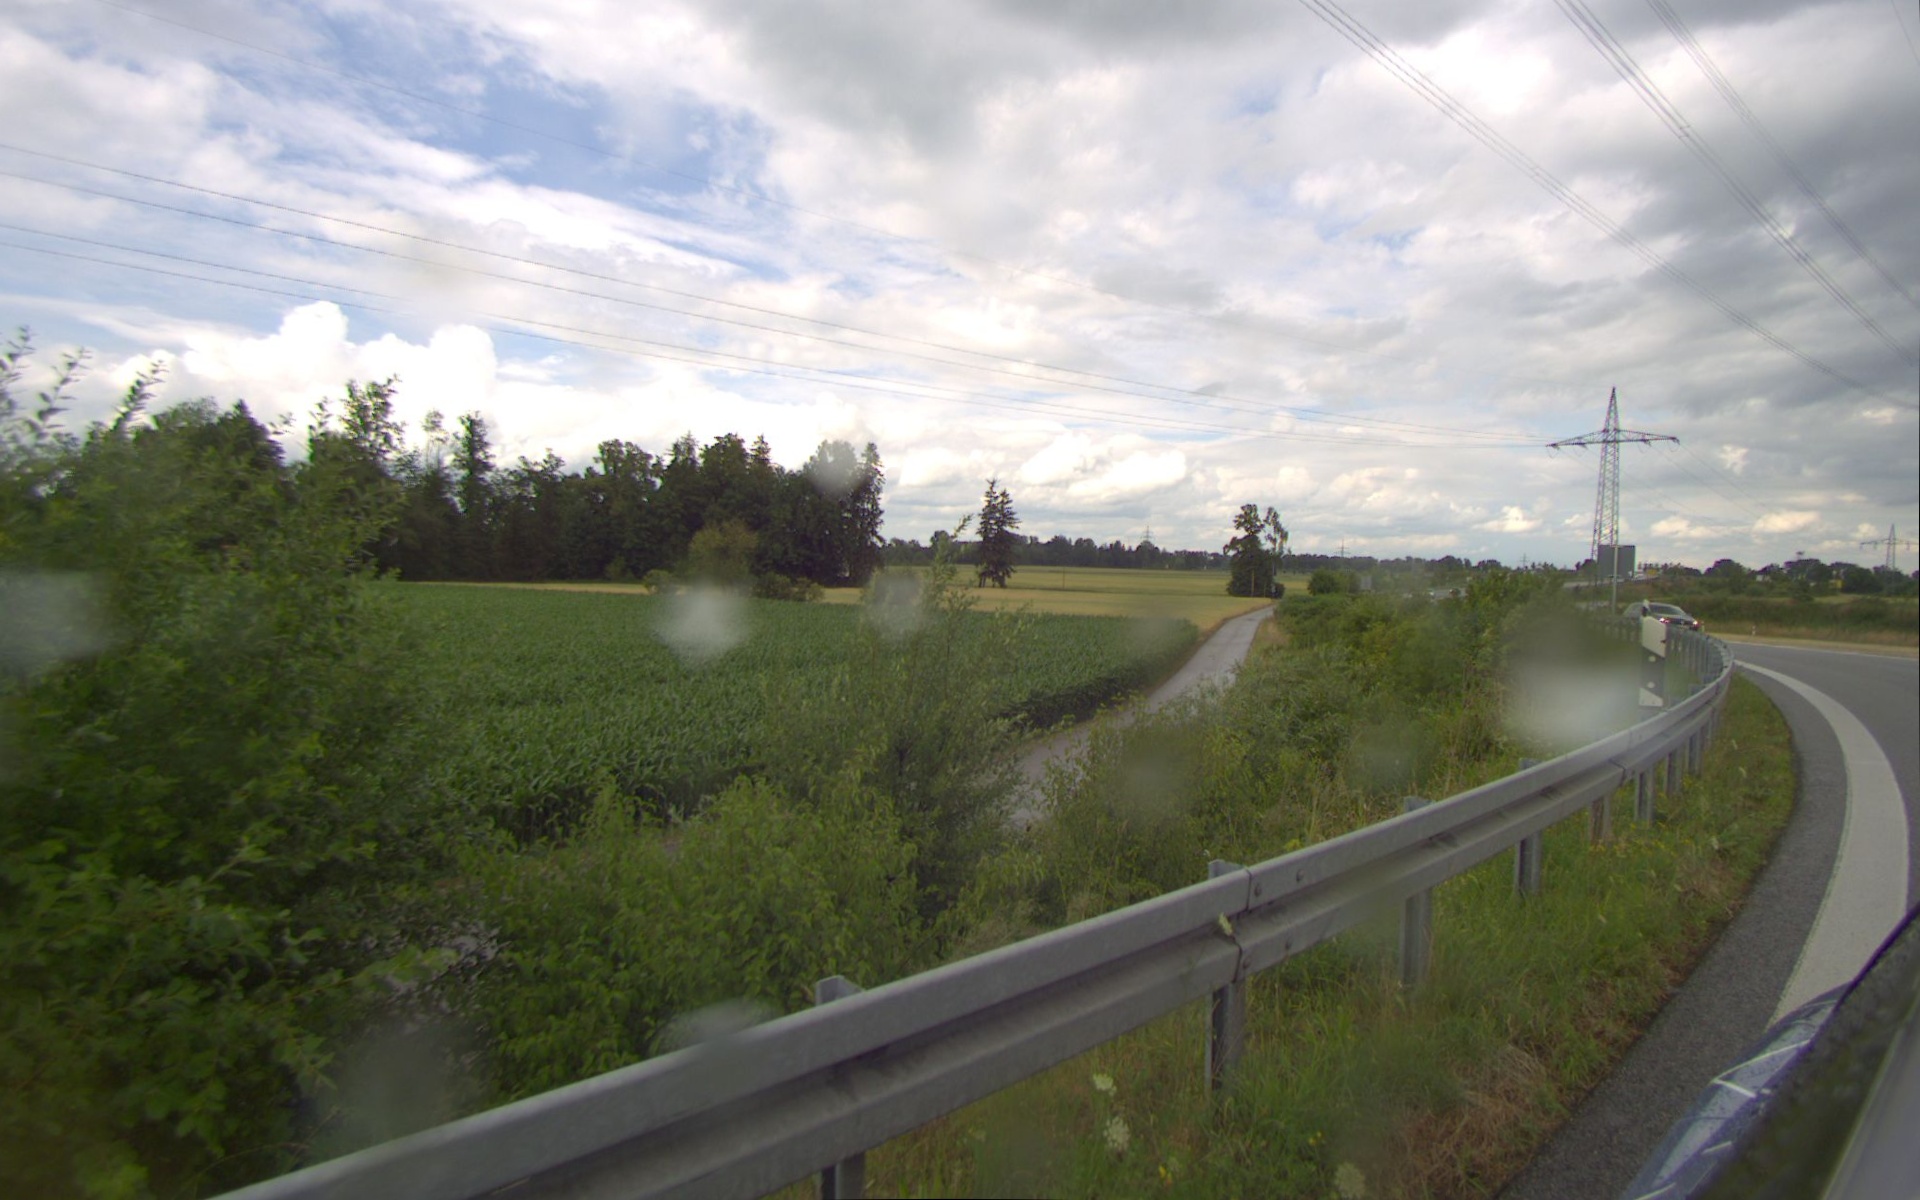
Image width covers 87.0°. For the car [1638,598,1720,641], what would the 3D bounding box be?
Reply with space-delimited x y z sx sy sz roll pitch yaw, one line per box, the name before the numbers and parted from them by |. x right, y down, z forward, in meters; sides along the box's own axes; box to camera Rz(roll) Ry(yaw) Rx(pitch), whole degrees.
car | 32.531 0.834 45.896 1.975 1.774 3.974 1 1 20
